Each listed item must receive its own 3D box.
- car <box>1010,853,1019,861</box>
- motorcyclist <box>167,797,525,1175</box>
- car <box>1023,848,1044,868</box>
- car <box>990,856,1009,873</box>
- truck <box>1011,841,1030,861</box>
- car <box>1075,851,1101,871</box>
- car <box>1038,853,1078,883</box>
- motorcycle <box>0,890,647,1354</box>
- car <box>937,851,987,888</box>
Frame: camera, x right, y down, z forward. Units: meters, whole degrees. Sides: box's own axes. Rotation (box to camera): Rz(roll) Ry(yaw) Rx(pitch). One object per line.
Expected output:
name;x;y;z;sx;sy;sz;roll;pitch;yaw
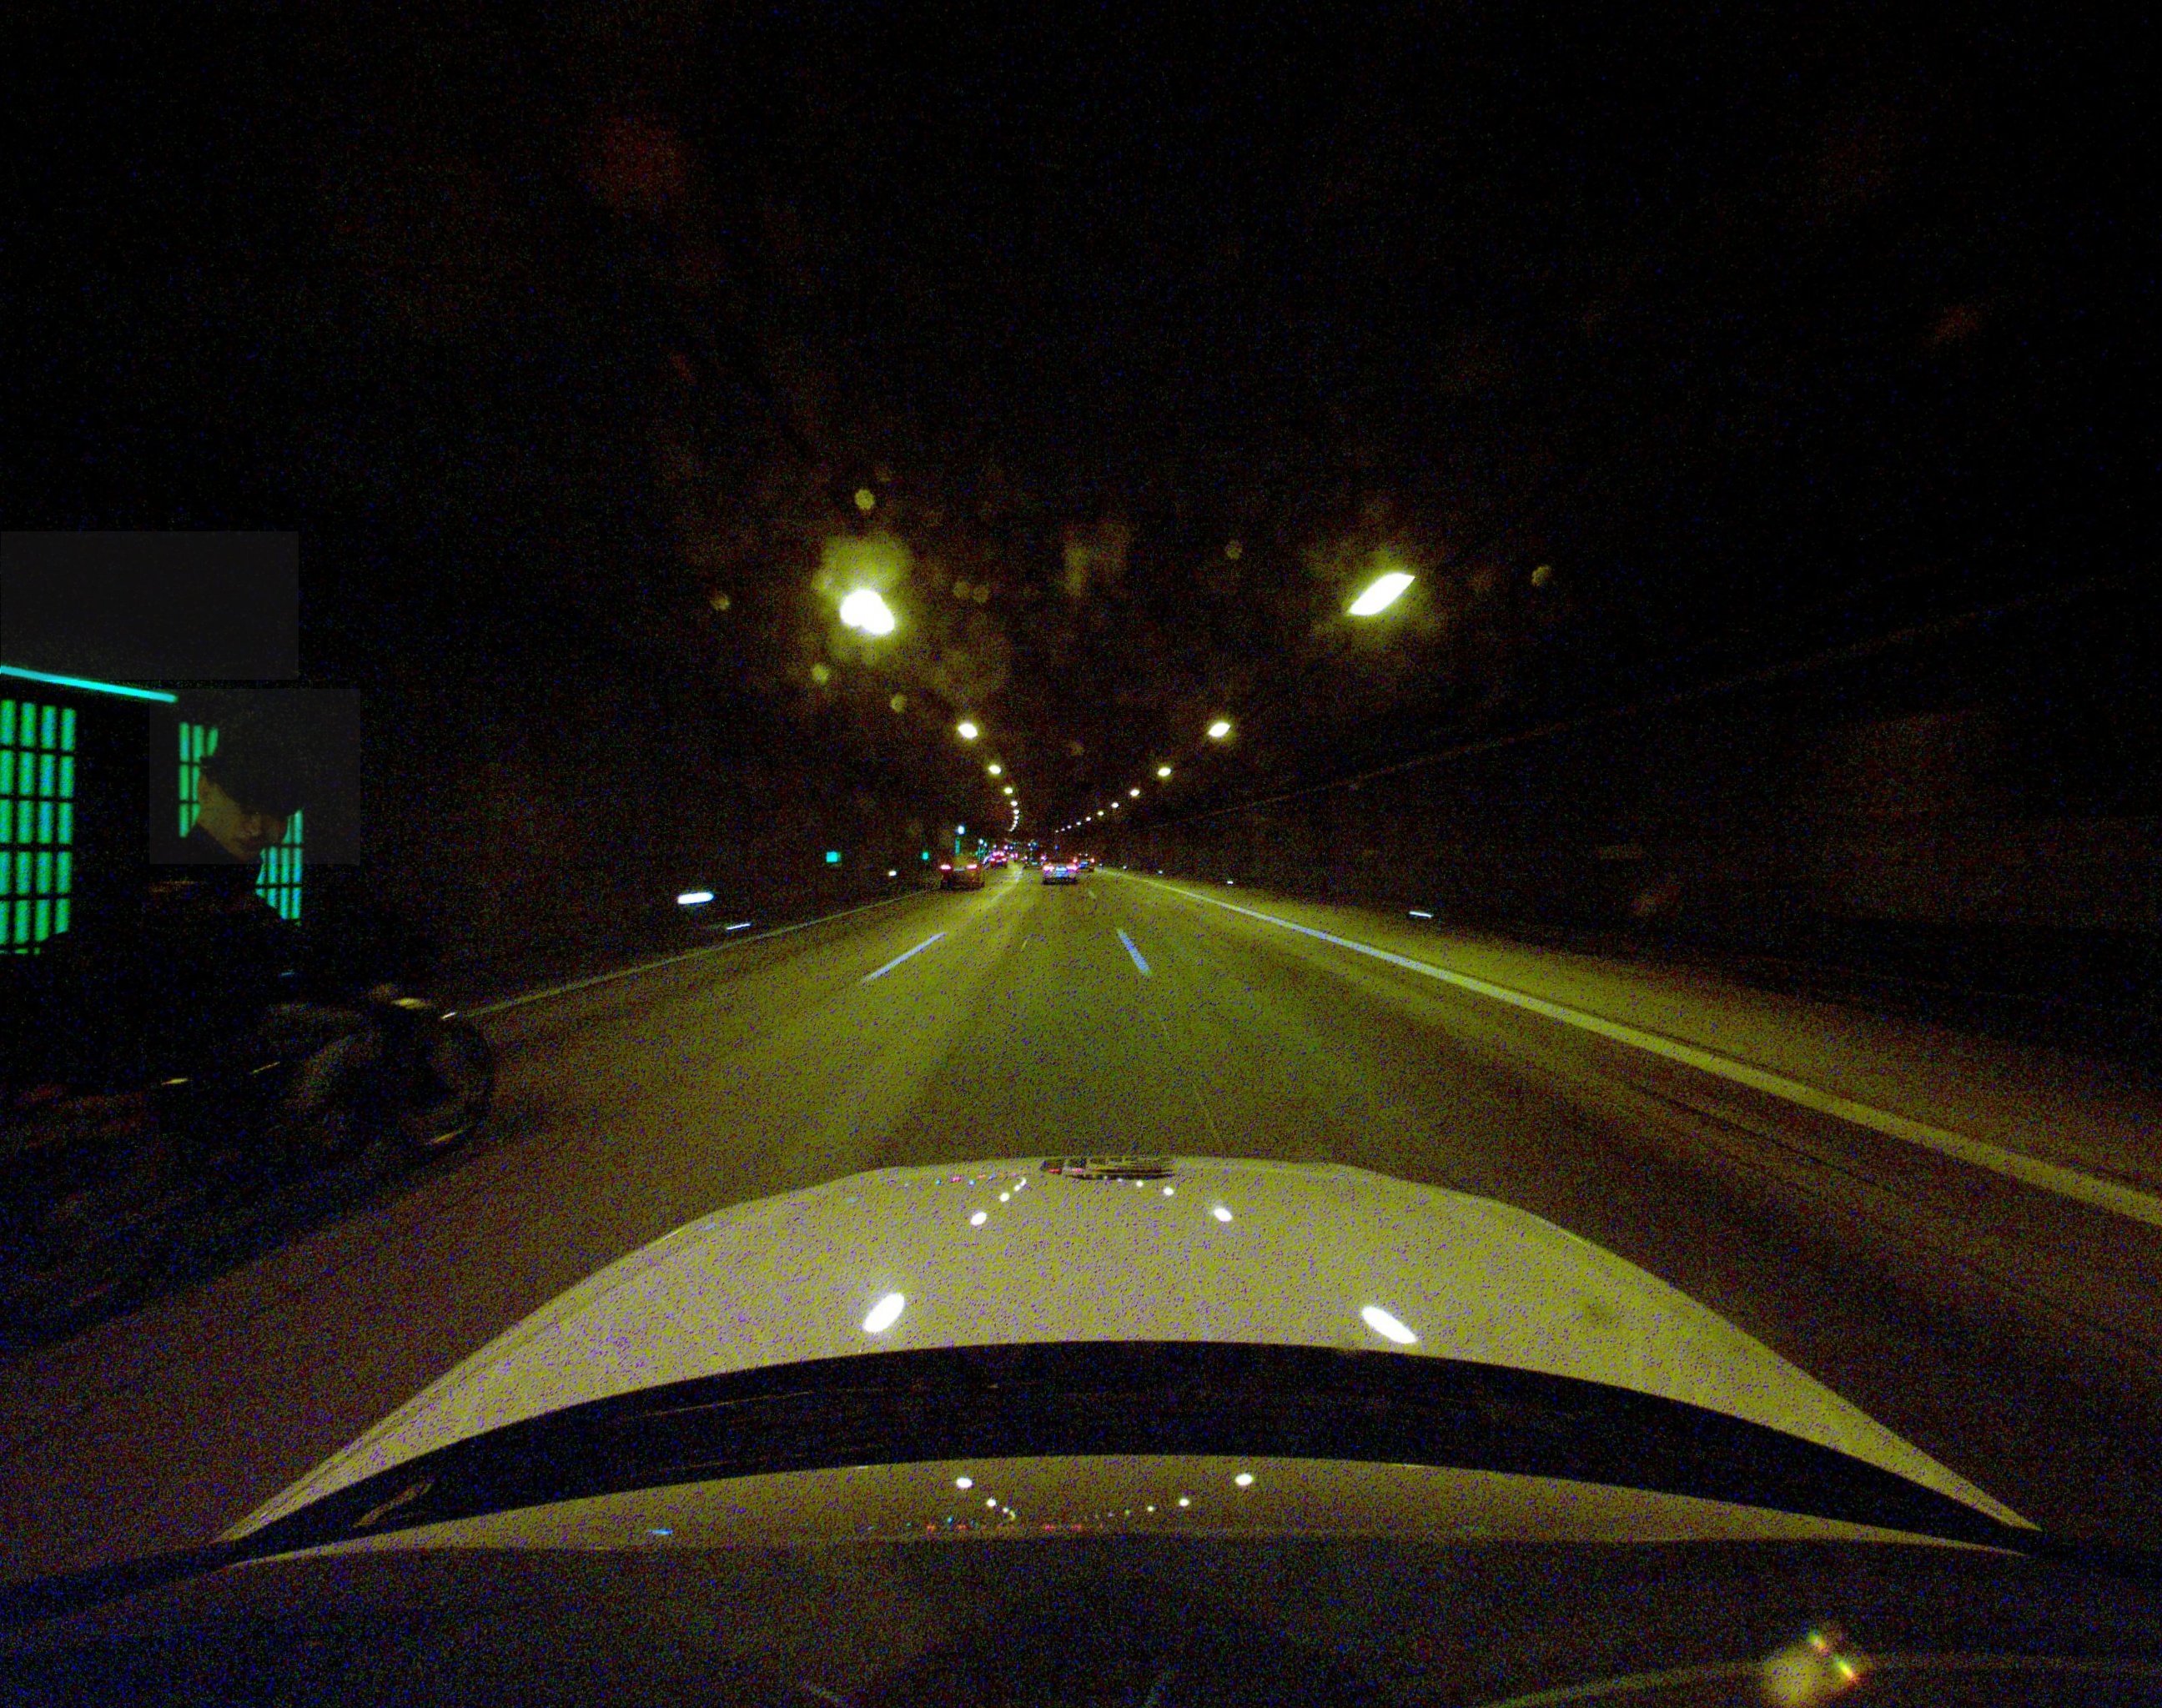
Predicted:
car;-15.399;0.665;188.116;1.990;1.754;3.994;1;-1;-4
motorcyclist;-3.184;0.520;3.621;0.835;1.477;0.822;-1;0;4
car;-4.699;0.403;81.005;1.988;1.972;3.997;-1;-1;-2
car;-8.584;1.092;86.025;1.796;1.684;3.996;0;0;-2
truck;-10.032;-0.510;135.801;3.077;3.113;10.014;1;1;-4
car;0.540;0.555;68.072;1.836;1.602;3.994;0;0;-4
car;-1.140;0.688;42.356;1.987;1.483;3.999;0;0;0
motorcycle;-3.156;0.843;3.697;0.842;1.246;2.607;-1;0;4
car;-5.400;0.661;37.356;1.780;1.598;3.799;-1;0;-2
